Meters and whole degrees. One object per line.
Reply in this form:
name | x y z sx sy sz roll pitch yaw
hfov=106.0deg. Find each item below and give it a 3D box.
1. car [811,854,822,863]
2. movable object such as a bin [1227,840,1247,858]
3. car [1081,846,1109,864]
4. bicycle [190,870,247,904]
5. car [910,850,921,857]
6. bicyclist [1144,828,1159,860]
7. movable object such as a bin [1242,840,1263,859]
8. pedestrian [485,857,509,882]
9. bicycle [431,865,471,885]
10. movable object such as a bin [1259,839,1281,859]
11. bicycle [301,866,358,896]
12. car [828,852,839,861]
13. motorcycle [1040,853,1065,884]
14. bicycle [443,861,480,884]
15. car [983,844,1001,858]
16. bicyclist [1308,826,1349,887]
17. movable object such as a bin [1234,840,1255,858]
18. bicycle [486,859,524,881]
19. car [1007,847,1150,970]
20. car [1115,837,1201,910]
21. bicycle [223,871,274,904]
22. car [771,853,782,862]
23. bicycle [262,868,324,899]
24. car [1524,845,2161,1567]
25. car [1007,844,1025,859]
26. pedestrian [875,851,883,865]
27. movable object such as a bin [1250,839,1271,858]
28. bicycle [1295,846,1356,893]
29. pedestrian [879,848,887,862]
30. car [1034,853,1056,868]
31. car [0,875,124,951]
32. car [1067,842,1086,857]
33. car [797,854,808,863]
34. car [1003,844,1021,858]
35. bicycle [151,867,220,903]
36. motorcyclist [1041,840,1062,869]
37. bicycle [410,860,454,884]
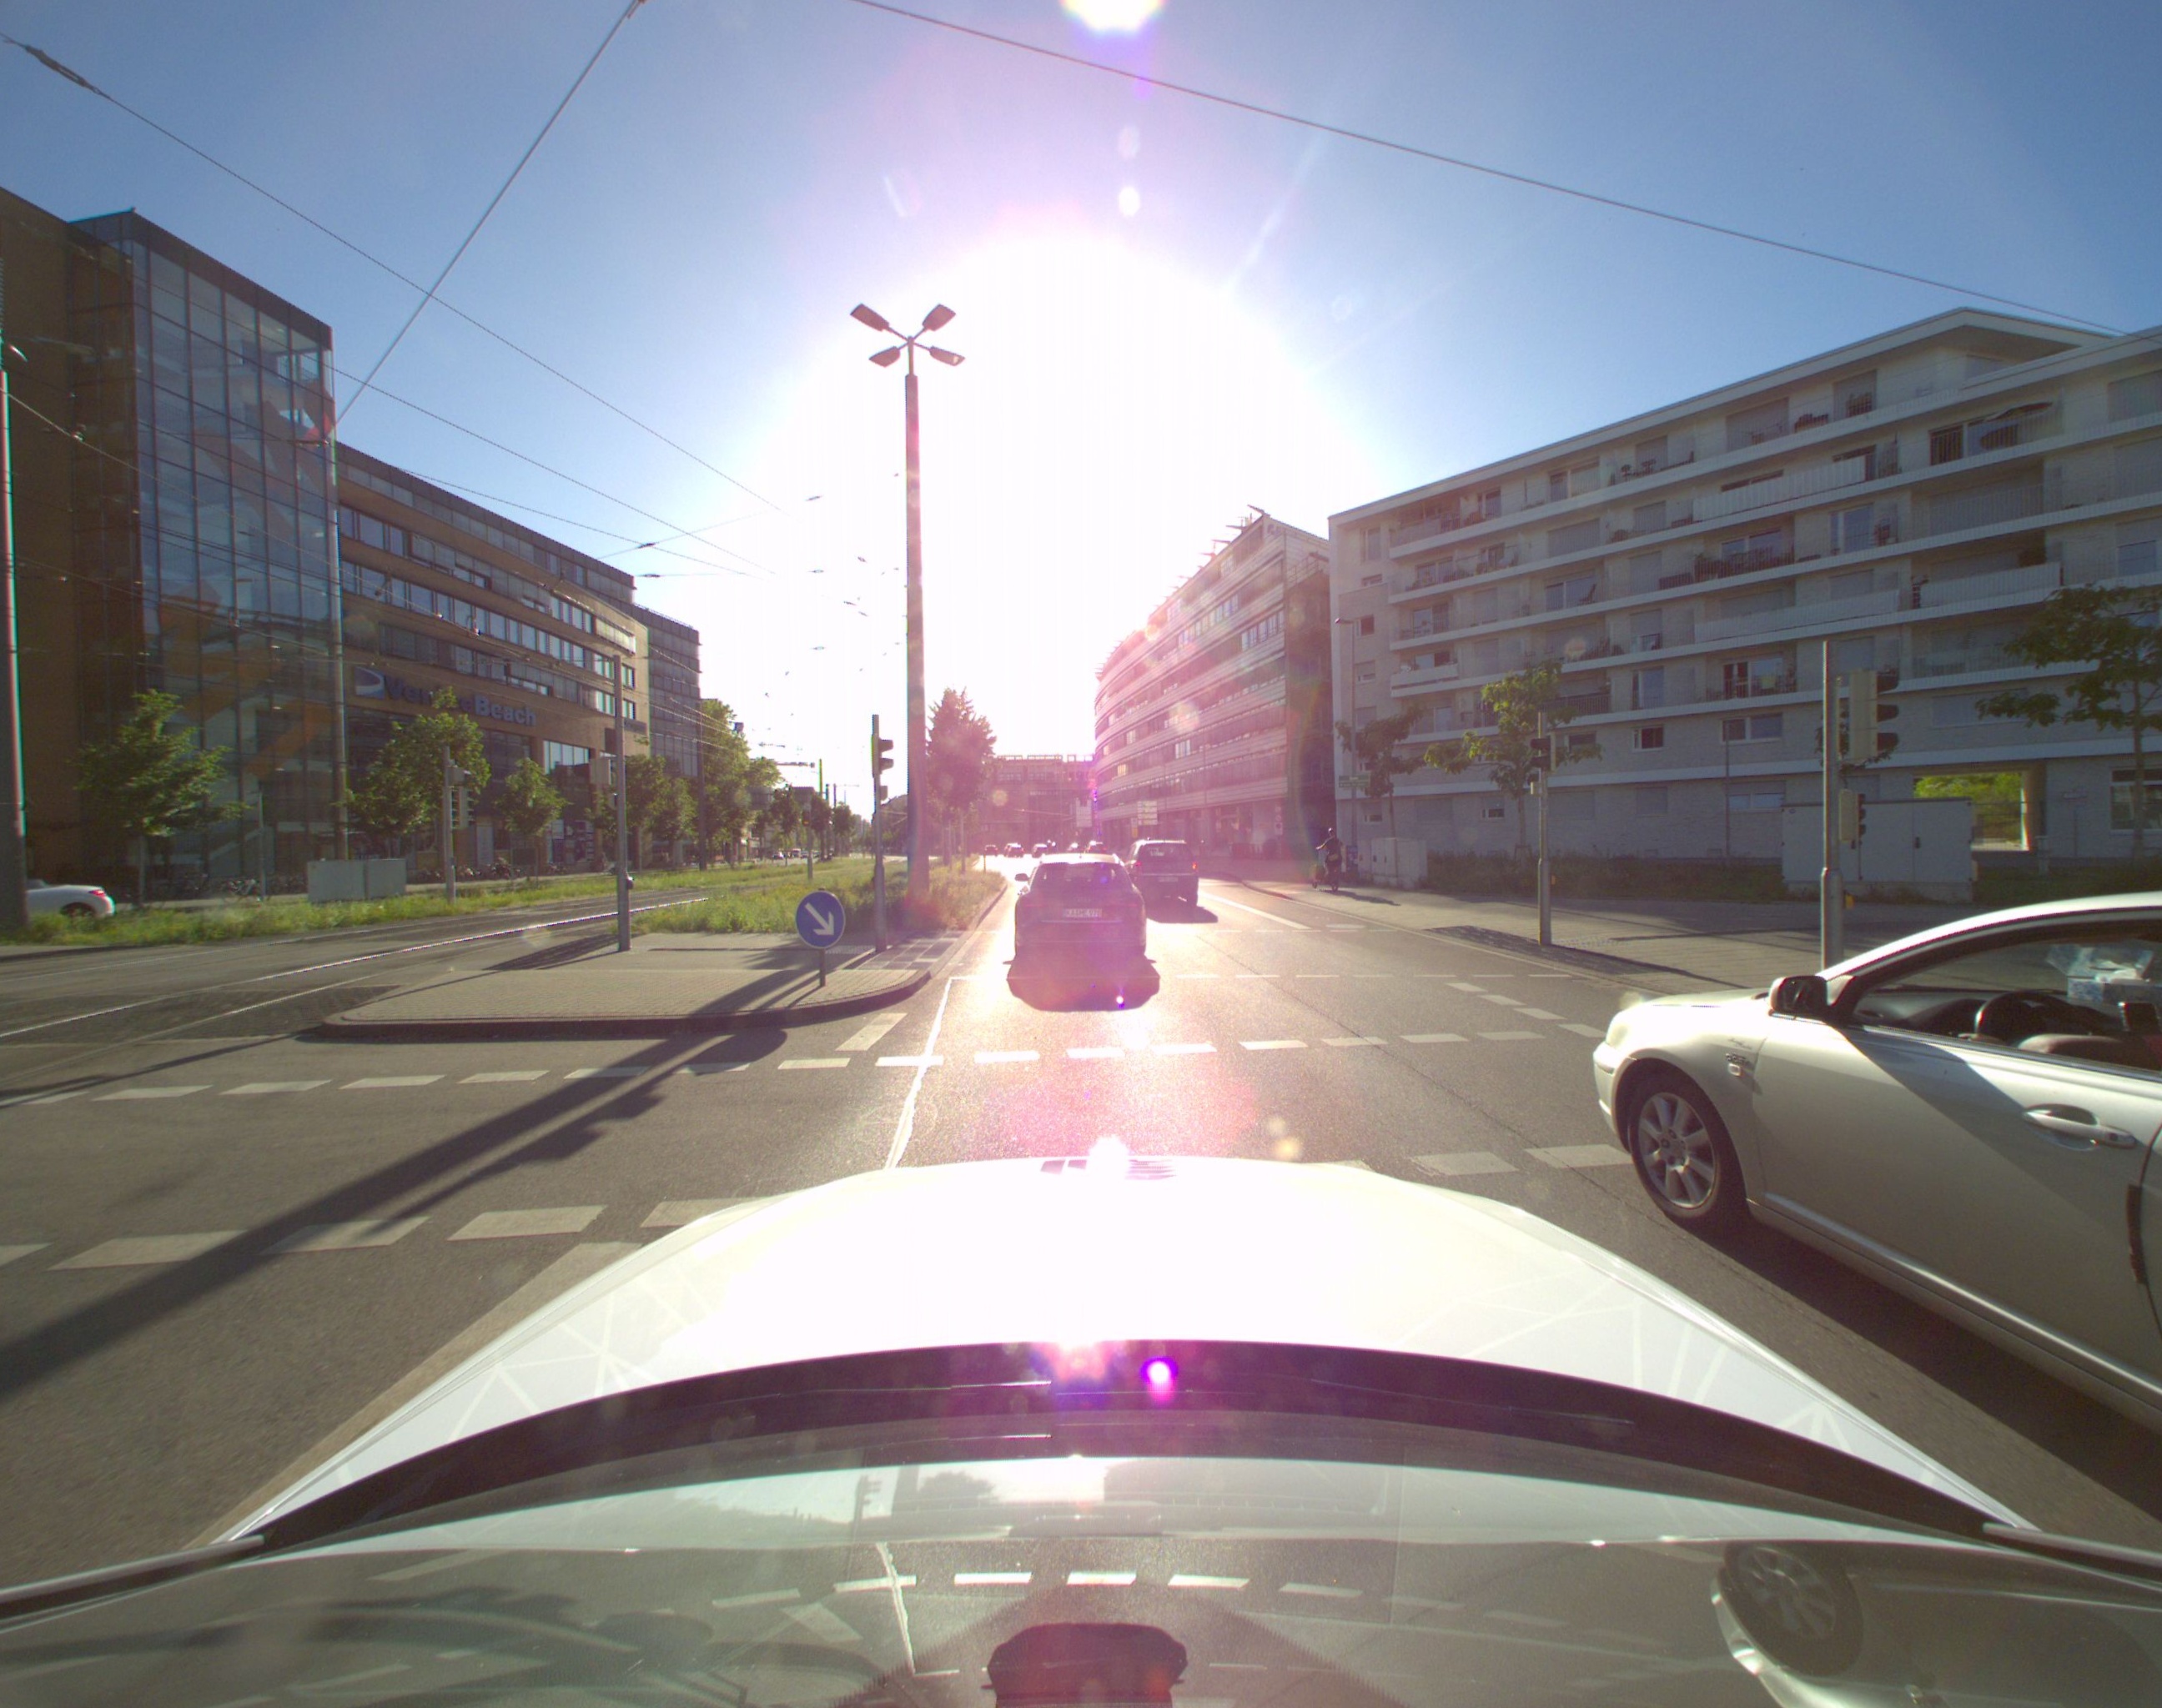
car | -54.585 0.884 168.289 2.000 1.683 3.974 -2 2 -20
movable object such as a bin | 11.806 -0.411 61.789 1.063 1.332 1.118 -2 1 -19
car | 1.411 0.058 84.156 2.003 1.715 4.358 0 2 -10
bicycle | -38.453 1.454 36.312 2.066 1.433 0.865 -1 1 17
car | -39.372 -0.143 193.608 1.998 1.706 3.978 -2 1 -17
bicyclist | 3.667 -0.548 42.438 0.649 1.642 0.975 0 2 12
movable object such as a bin | 12.539 -0.347 59.665 1.063 1.332 1.118 -2 1 -19
pedestrian | -38.532 1.039 53.762 0.812 1.587 0.970 -1 1 0
bicycle | -40.044 1.322 51.793 2.394 1.235 0.748 -1 1 17
movable object such as a bin | 13.306 -0.348 57.390 1.063 1.332 1.118 -2 1 -19
bicycle | -37.600 1.359 40.747 2.541 1.433 0.909 -1 1 17
car | -50.764 0.458 166.923 2.000 1.683 3.974 -2 2 -20
motorcycle | -1.344 0.660 37.968 0.863 1.393 1.887 -1 1 -11
bicycle | -40.053 1.198 52.656 2.227 1.433 0.721 -1 1 17
car | -11.055 -0.368 101.284 1.993 1.706 3.988 -2 1 -9
bicyclist | 7.117 0.055 23.453 0.767 1.706 0.926 -1 1 -14
movable object such as a bin | 12.187 -0.379 60.735 1.063 1.332 1.118 -2 1 -19
bicycle | -39.522 1.101 55.833 2.401 1.433 0.792 -1 1 17
car | 0.002 0.688 12.534 1.836 1.453 4.001 1 2 1
car | 1.955 0.421 21.733 1.741 1.695 4.258 2 2 -2
bicycle | -38.229 1.549 37.405 1.962 1.433 0.810 -1 1 17
car | -61.479 0.675 164.335 2.000 1.683 3.974 -2 2 -20
bicycle | -38.092 1.428 39.352 2.440 1.433 1.081 -1 1 17
car | 3.178 0.760 2.077 1.739 1.481 4.631 -1 1 2
car | -7.602 -0.308 95.640 1.991 1.596 3.992 -2 1 -6
pedestrian | -26.907 0.524 108.634 0.901 1.824 0.827 -2 0 -8
movable object such as a bin | 12.892 -0.409 58.584 1.063 1.332 1.118 -2 1 -19
bicycle | 7.076 0.410 23.659 0.767 1.262 2.072 -1 1 -14
pedestrian | -26.205 0.171 107.830 0.901 1.824 0.827 -2 0 -8
car | -4.158 0.695 92.605 1.993 1.596 3.987 -2 1 -9
car | -24.920 1.379 17.965 1.984 1.545 4.538 -1 2 6
car | -0.570 -0.610 104.706 1.991 1.837 3.992 -2 1 -6
car | -57.322 0.906 167.641 2.000 1.683 3.974 -2 2 -20
car | -8.643 -0.416 102.228 1.993 1.706 3.988 -2 1 -9
bicycle | -38.791 1.340 35.274 2.351 1.433 1.081 -1 1 17
motorcyclist | -1.382 -0.005 38.025 0.863 1.326 0.679 -1 1 -11
bicycle | -40.120 1.100 50.353 2.586 1.433 0.775 -1 1 17
